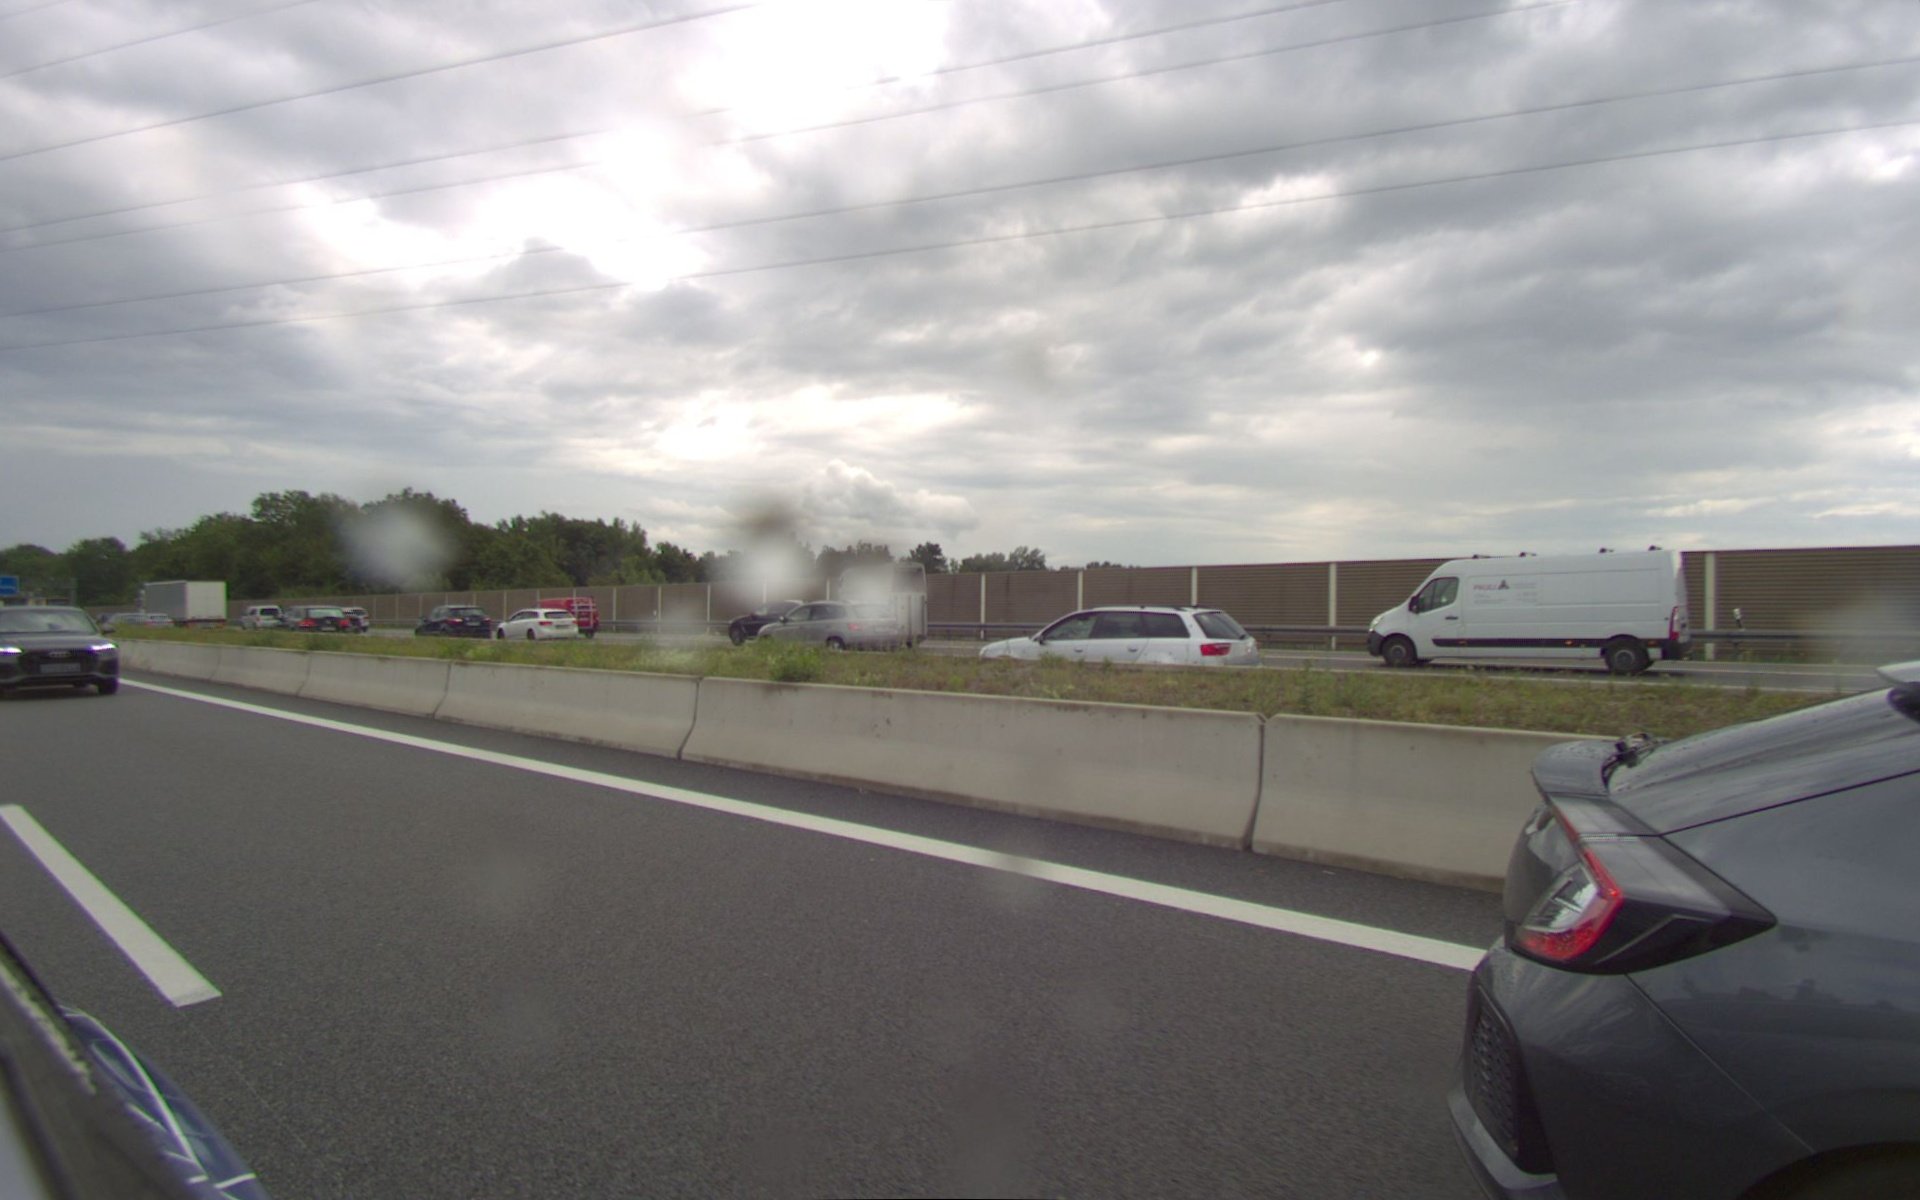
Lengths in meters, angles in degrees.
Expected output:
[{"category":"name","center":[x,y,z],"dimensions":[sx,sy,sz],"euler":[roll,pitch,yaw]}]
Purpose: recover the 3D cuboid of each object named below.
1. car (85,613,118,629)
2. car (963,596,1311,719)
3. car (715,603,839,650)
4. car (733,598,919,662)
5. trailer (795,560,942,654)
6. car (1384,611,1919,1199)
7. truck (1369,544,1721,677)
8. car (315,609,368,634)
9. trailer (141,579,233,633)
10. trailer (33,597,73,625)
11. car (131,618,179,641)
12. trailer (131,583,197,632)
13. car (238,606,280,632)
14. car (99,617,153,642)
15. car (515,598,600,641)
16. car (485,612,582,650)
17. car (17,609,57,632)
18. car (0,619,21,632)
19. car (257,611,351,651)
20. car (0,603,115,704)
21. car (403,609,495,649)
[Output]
[{"category":"car","center":[-87.343,2.155,102.926],"dimensions":[5.157,1.548,1.747],"euler":[-1,0,40]},{"category":"car","center":[2.503,0.750,15.010],"dimensions":[4.736,1.538,1.974],"euler":[-1,-1,40]},{"category":"car","center":[-6.908,0.974,37.975],"dimensions":[4.817,1.607,1.945],"euler":[-1,0,40]},{"category":"car","center":[-3.518,0.728,26.030],"dimensions":[4.939,1.465,1.945],"euler":[-1,0,40]},{"category":"trailer","center":[-3.209,0.231,34.796],"dimensions":[4.897,2.984,2.225],"euler":[-1,0,40]},{"category":"car","center":[3.286,0.696,0.931],"dimensions":[5.056,1.379,1.743],"euler":[-1,-1,40]},{"category":"truck","center":[12.324,0.213,21.708],"dimensions":[6.260,2.470,2.081],"euler":[-1,0,41]},{"category":"car","center":[-43.271,1.488,70.768],"dimensions":[4.939,1.622,1.747],"euler":[-1,0,40]},{"category":"trailer","center":[-62.844,0.507,82.095],"dimensions":[13.280,4.092,3.285],"euler":[-1,0,41]},{"category":"trailer","center":[-133.361,1.654,148.781],"dimensions":[14.045,3.993,2.650],"euler":[-1,0,41]},{"category":"car","center":[-58.248,2.088,73.164],"dimensions":[5.157,1.548,1.747],"euler":[-1,0,40]},{"category":"trailer","center":[-68.323,0.625,86.809],"dimensions":[6.075,4.074,3.285],"euler":[-1,0,41]},{"category":"car","center":[-57.775,1.566,83.362],"dimensions":[3.999,2.029,1.981],"euler":[-1,0,42]},{"category":"car","center":[-51.692,1.783,62.688],"dimensions":[5.082,1.465,1.747],"euler":[-1,0,40]},{"category":"car","center":[-19.739,0.930,49.490],"dimensions":[4.939,1.982,1.747],"euler":[-1,0,40]},{"category":"car","center":[-18.065,1.277,42.759],"dimensions":[4.939,1.465,1.747],"euler":[-1,0,40]},{"category":"car","center":[-81.496,1.807,89.337],"dimensions":[5.157,1.914,1.903],"euler":[-1,0,40]},{"category":"car","center":[-116.145,3.105,123.350],"dimensions":[5.709,1.560,1.747],"euler":[-1,0,40]},{"category":"car","center":[-26.380,1.209,40.633],"dimensions":[4.939,1.465,1.808],"euler":[-1,0,40]},{"category":"car","center":[-17.810,0.943,19.388],"dimensions":[5.169,1.704,1.888],"euler":[-1,0,43]},{"category":"car","center":[-20.387,1.141,40.293],"dimensions":[4.230,1.465,1.747],"euler":[-1,0,40]}]
